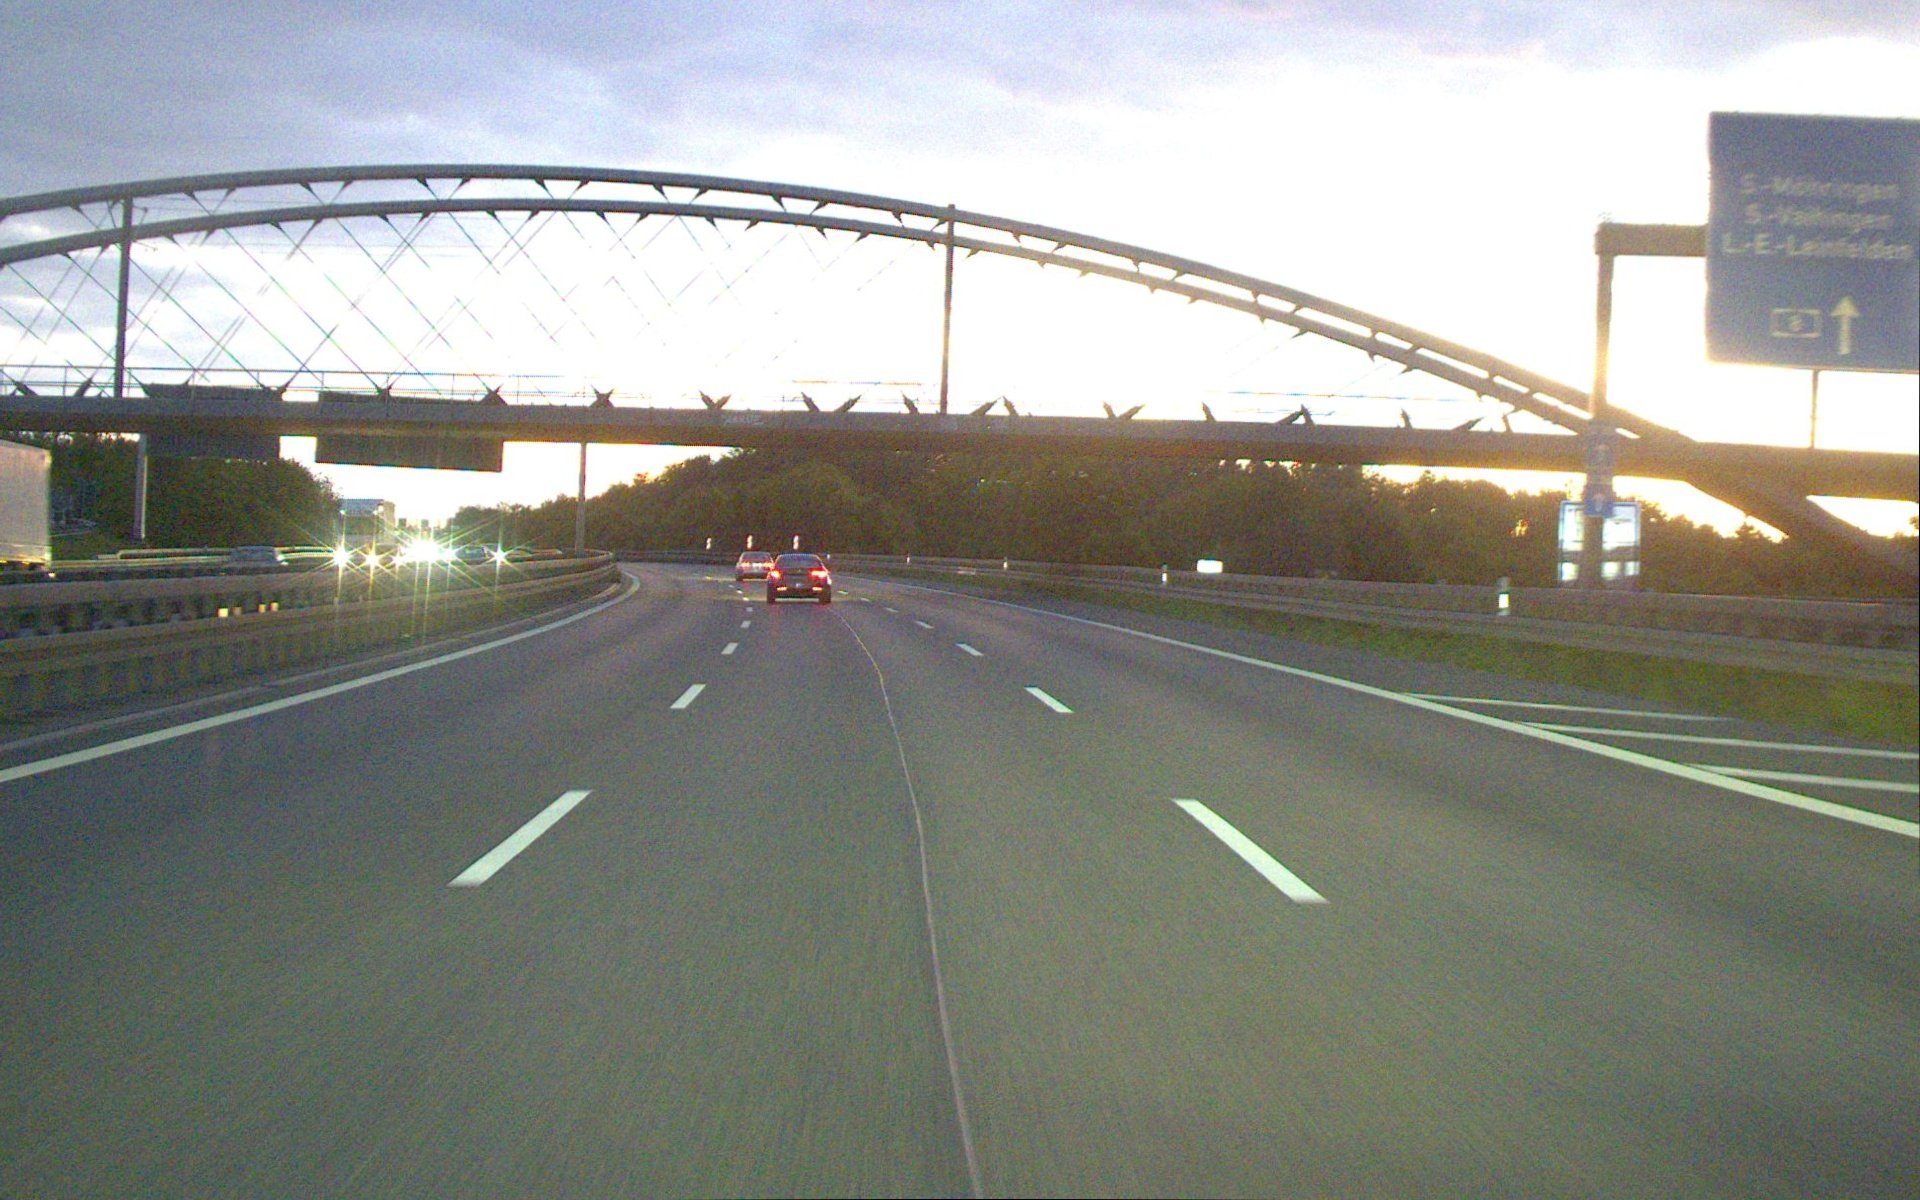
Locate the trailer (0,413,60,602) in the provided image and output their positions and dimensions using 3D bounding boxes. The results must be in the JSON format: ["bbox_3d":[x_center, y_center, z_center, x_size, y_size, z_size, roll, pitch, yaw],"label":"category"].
[{"bbox_3d":[-24.206,-2.205,81.167,2.824,4.492,14.630,1,1,-3],"label":"trailer"}]

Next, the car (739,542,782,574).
[{"bbox_3d":[-9.445,-1.973,162.857,1.689,1.397,3.408,0,-1,3],"label":"car"}]

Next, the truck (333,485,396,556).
[{"bbox_3d":[-34.952,-4.641,202.026,2.824,4.035,12.218,0,1,-6],"label":"truck"}]

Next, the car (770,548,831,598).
[{"bbox_3d":[-4.698,-0.789,101.100,1.689,1.397,3.409,1,-1,-4],"label":"car"}]

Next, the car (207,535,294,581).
[{"bbox_3d":[-22.324,-1.328,108.320,1.993,1.399,4.330,1,1,-2],"label":"car"}]
